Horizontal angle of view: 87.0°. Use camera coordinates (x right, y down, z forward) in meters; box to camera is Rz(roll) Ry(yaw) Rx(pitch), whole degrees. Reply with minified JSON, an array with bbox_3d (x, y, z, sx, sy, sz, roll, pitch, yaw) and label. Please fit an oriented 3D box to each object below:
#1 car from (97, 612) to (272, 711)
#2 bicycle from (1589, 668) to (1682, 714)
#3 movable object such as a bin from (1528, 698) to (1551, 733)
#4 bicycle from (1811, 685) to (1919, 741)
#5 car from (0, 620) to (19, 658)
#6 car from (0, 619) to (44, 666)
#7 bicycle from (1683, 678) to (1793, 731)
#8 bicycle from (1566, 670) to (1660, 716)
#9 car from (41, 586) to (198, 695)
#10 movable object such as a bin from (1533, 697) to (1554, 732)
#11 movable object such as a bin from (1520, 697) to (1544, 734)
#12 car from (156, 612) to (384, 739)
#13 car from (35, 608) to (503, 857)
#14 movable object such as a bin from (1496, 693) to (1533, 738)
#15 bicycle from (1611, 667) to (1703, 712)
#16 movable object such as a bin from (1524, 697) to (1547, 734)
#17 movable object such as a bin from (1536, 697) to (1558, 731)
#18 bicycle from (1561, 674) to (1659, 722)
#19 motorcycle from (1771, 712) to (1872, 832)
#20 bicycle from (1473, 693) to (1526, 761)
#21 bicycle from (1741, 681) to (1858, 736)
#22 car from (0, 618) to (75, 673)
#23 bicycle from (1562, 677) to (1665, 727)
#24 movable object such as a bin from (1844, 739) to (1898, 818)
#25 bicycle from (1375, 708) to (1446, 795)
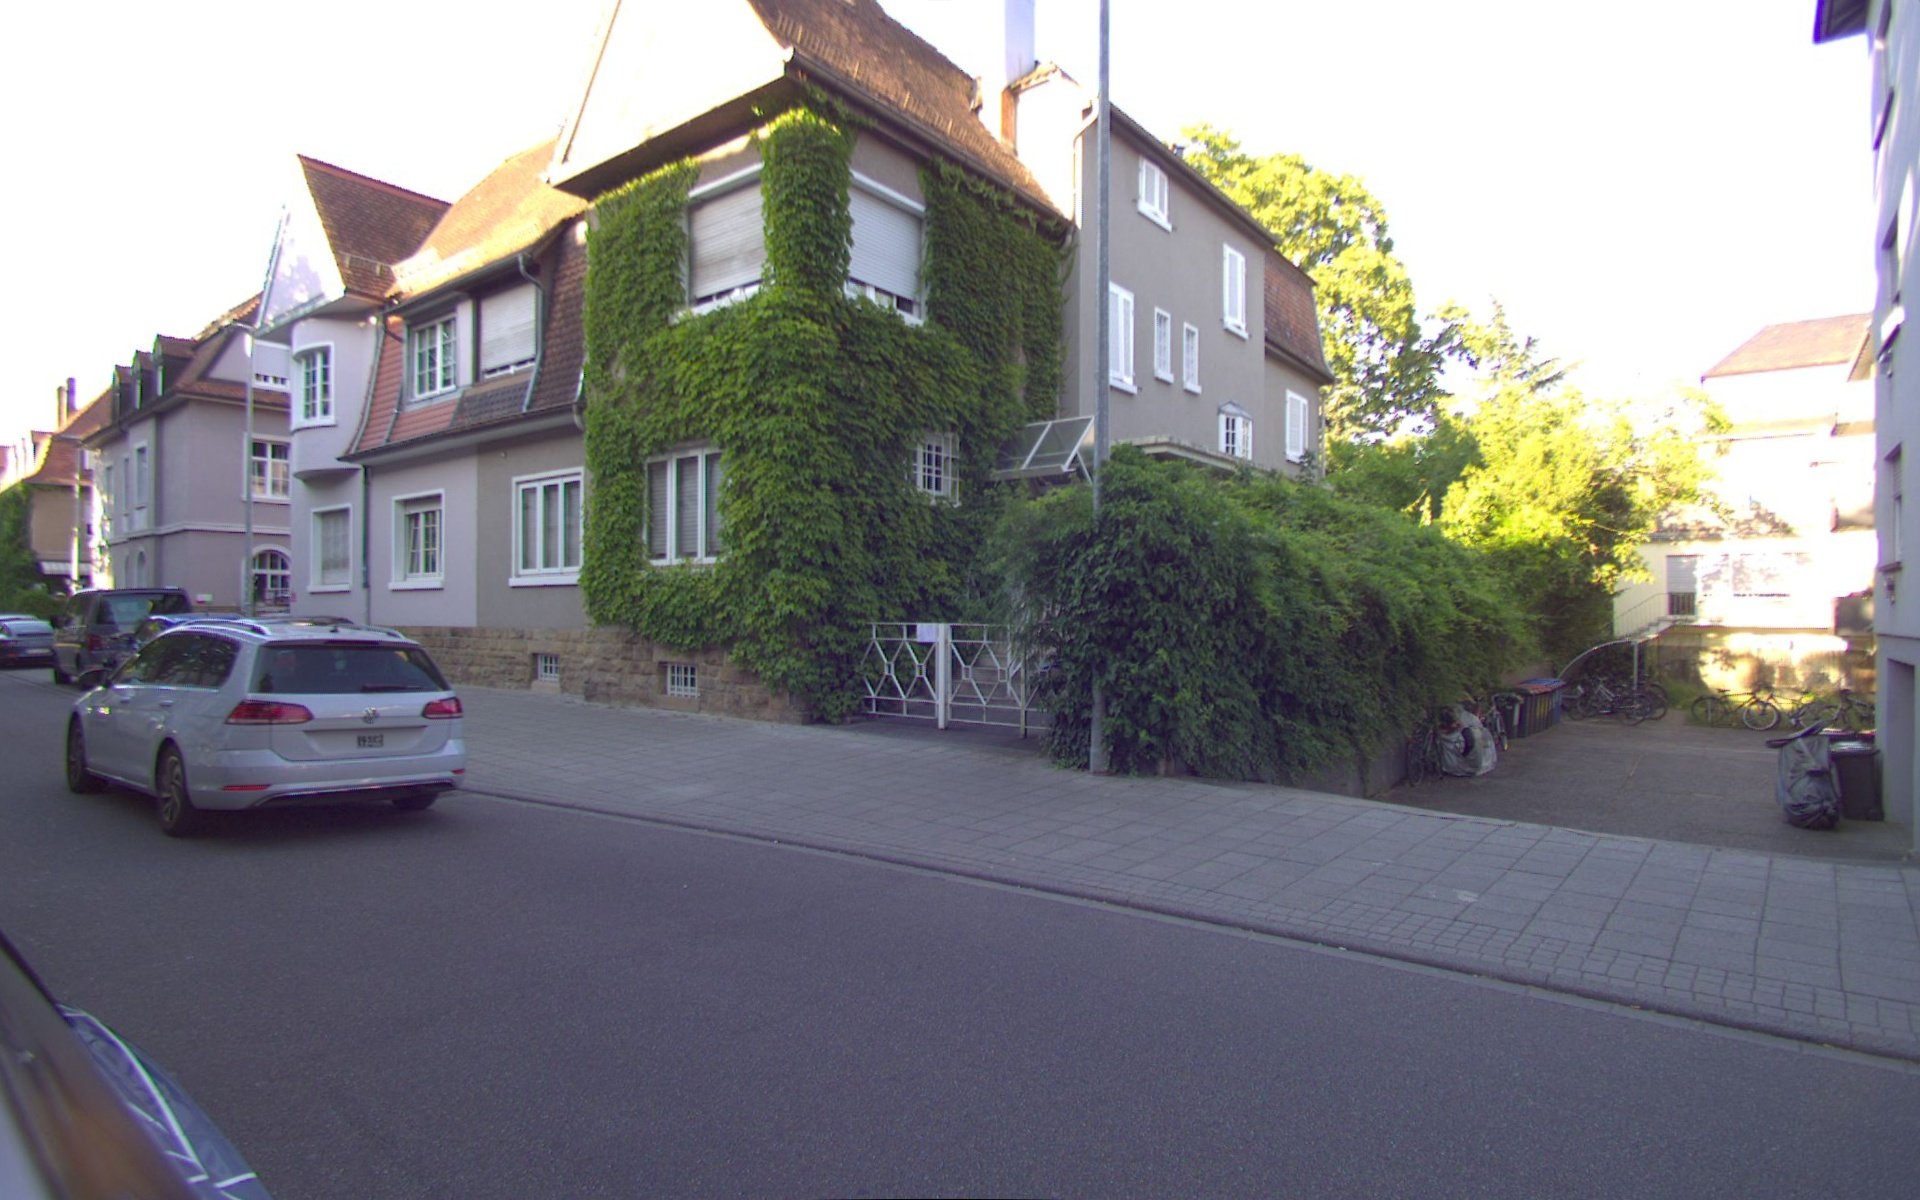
[{"bbox_3d":[-13.731,0.987,17.840,4.021,1.475,1.591,0,2,40],"label":"car"},{"bbox_3d":[18.628,2.491,27.933,2.068,1.028,0.608,1,3,41],"label":"bicycle"},{"bbox_3d":[13.032,2.588,22.760,0.375,0.764,0.359,-1,-4,41],"label":"movable object such as a bin"},{"bbox_3d":[20.542,2.529,22.799,2.068,1.028,0.634,1,3,41],"label":"bicycle"},{"bbox_3d":[-36.541,1.453,37.702,3.942,1.381,1.698,-1,1,40],"label":"car"},{"bbox_3d":[-30.271,1.333,31.908,3.942,1.381,1.522,-1,1,40],"label":"car"},{"bbox_3d":[18.727,2.490,24.388,2.068,1.028,0.634,1,3,41],"label":"bicycle"},{"bbox_3d":[17.710,2.503,27.467,2.068,1.028,0.608,1,3,41],"label":"bicycle"},{"bbox_3d":[-17.458,0.758,20.950,4.308,1.987,1.698,0,2,40],"label":"car"},{"bbox_3d":[13.295,2.609,23.053,0.367,0.764,0.359,-1,-4,41],"label":"movable object such as a bin"},{"bbox_3d":[12.525,2.532,22.172,0.398,0.779,0.359,-1,-4,41],"label":"movable object such as a bin"},{"bbox_3d":[-9.892,0.952,14.392,4.023,1.439,1.729,0,2,42],"label":"car"},{"bbox_3d":[-5.603,0.876,8.019,4.293,1.473,1.764,-2,-4,37],"label":"car"},{"bbox_3d":[11.554,2.401,21.091,0.576,0.886,0.488,0,-3,41],"label":"movable object such as a bin"},{"bbox_3d":[19.429,2.480,28.238,2.068,1.028,0.561,1,3,41],"label":"bicycle"},{"bbox_3d":[12.781,2.563,22.459,0.381,0.779,0.359,-1,-4,41],"label":"movable object such as a bin"},{"bbox_3d":[13.547,2.624,23.350,0.367,0.764,0.359,-1,-4,41],"label":"movable object such as a bin"},{"bbox_3d":[16.850,2.515,26.265,2.068,1.028,0.565,1,3,41],"label":"bicycle"},{"bbox_3d":[10.713,2.096,12.636,0.757,1.261,1.575,-1,-3,34],"label":"motorcycle"},{"bbox_3d":[9.967,2.310,18.668,0.514,1.027,1.914,1,0,38],"label":"bicycle"},{"bbox_3d":[19.581,2.504,23.654,2.068,1.028,0.634,1,3,41],"label":"bicycle"},{"bbox_3d":[-26.370,1.231,28.375,4.331,1.381,1.698,-1,1,40],"label":"car"},{"bbox_3d":[16.285,2.522,25.253,2.068,1.028,0.634,1,3,41],"label":"bicycle"},{"bbox_3d":[11.771,2.295,13.094,0.432,0.894,0.717,-1,-3,37],"label":"movable object such as a bin"},{"bbox_3d":[6.772,2.228,15.162,0.514,1.027,1.914,1,0,38],"label":"bicycle"}]
